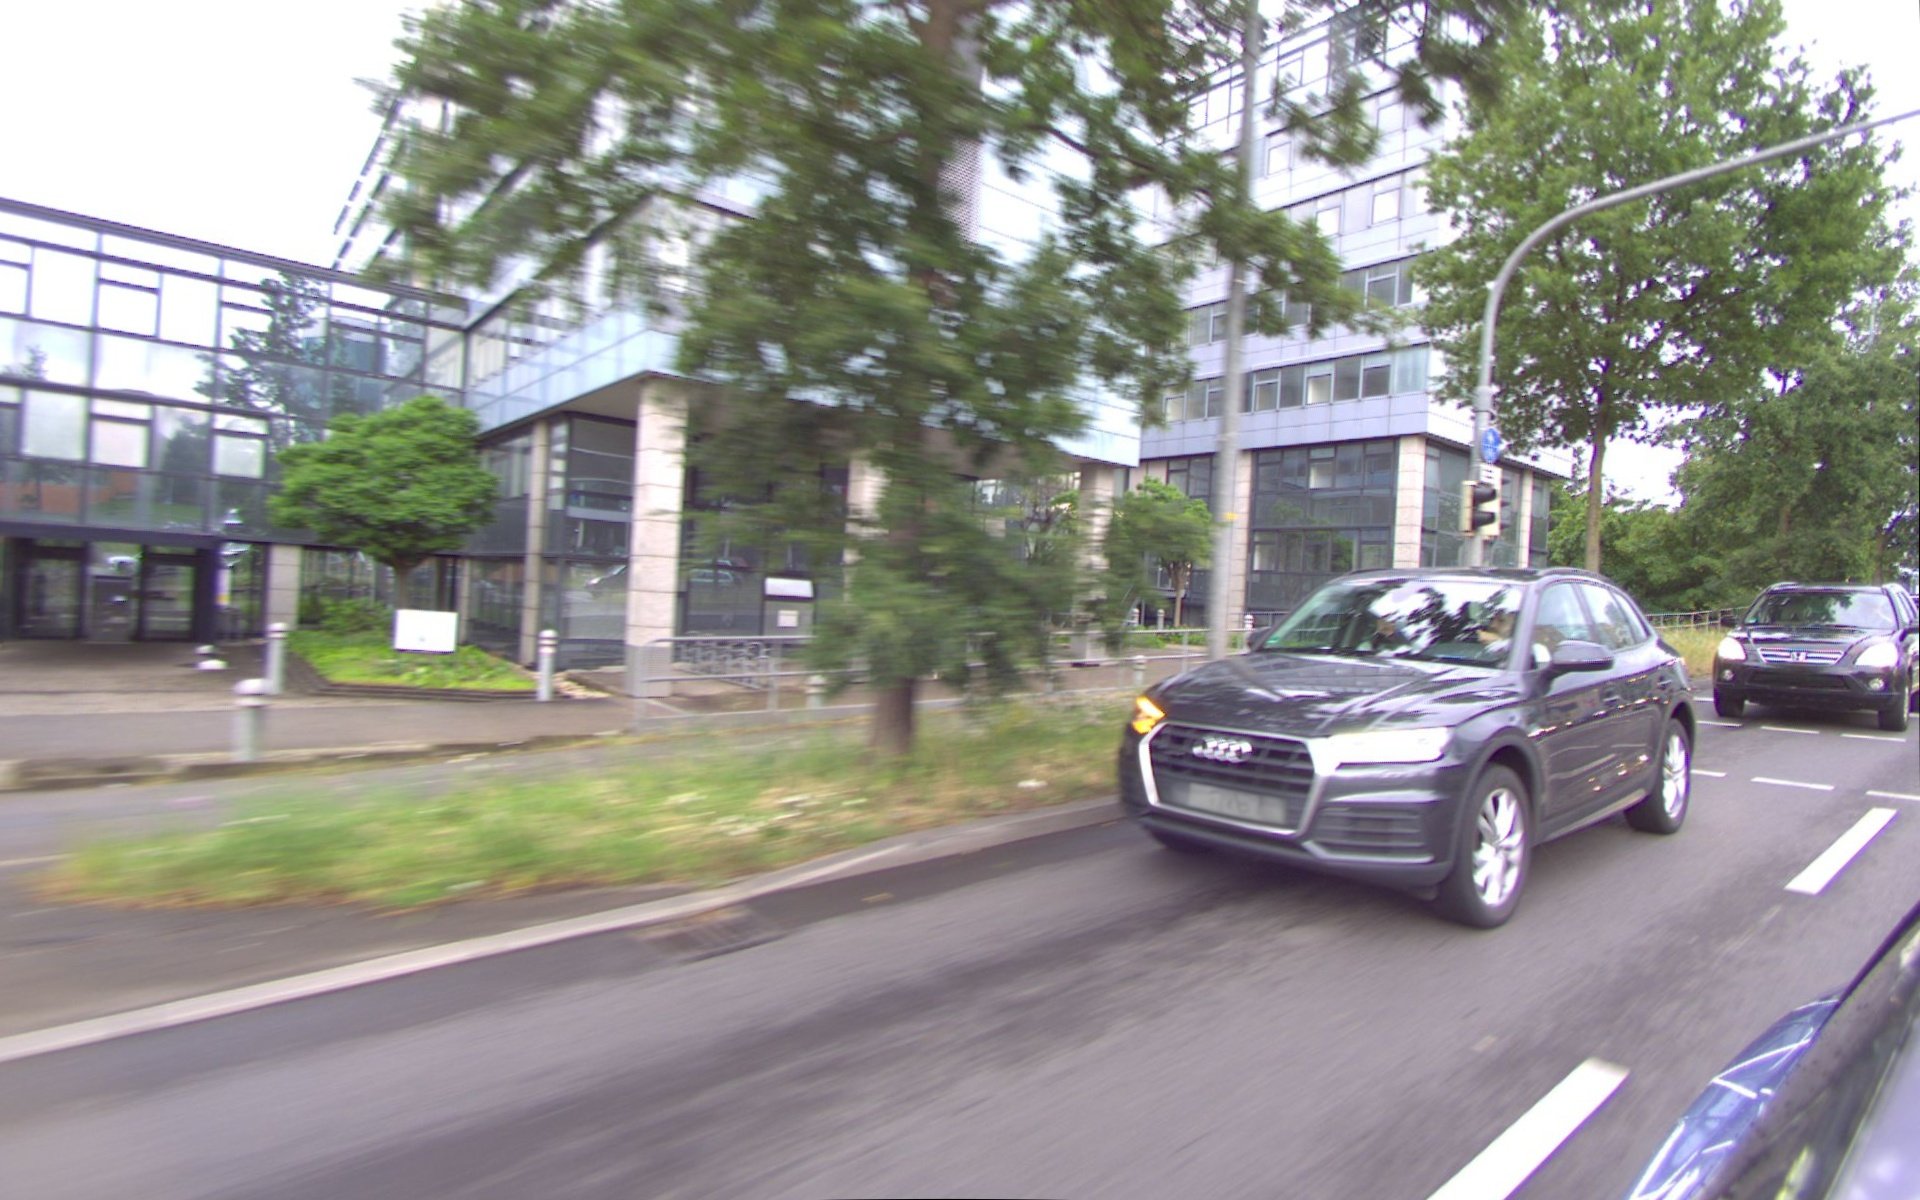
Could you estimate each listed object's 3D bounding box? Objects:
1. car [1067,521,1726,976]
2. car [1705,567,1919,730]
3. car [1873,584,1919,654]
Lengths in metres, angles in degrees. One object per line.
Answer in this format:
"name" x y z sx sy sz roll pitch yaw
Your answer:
"car" 2.758 0.540 5.861 4.294 1.691 1.815 0 1 -41
"car" 11.010 0.491 12.623 4.469 1.691 1.815 0 1 -41
"car" 23.051 0.441 23.781 4.034 1.562 1.872 0 1 -41
